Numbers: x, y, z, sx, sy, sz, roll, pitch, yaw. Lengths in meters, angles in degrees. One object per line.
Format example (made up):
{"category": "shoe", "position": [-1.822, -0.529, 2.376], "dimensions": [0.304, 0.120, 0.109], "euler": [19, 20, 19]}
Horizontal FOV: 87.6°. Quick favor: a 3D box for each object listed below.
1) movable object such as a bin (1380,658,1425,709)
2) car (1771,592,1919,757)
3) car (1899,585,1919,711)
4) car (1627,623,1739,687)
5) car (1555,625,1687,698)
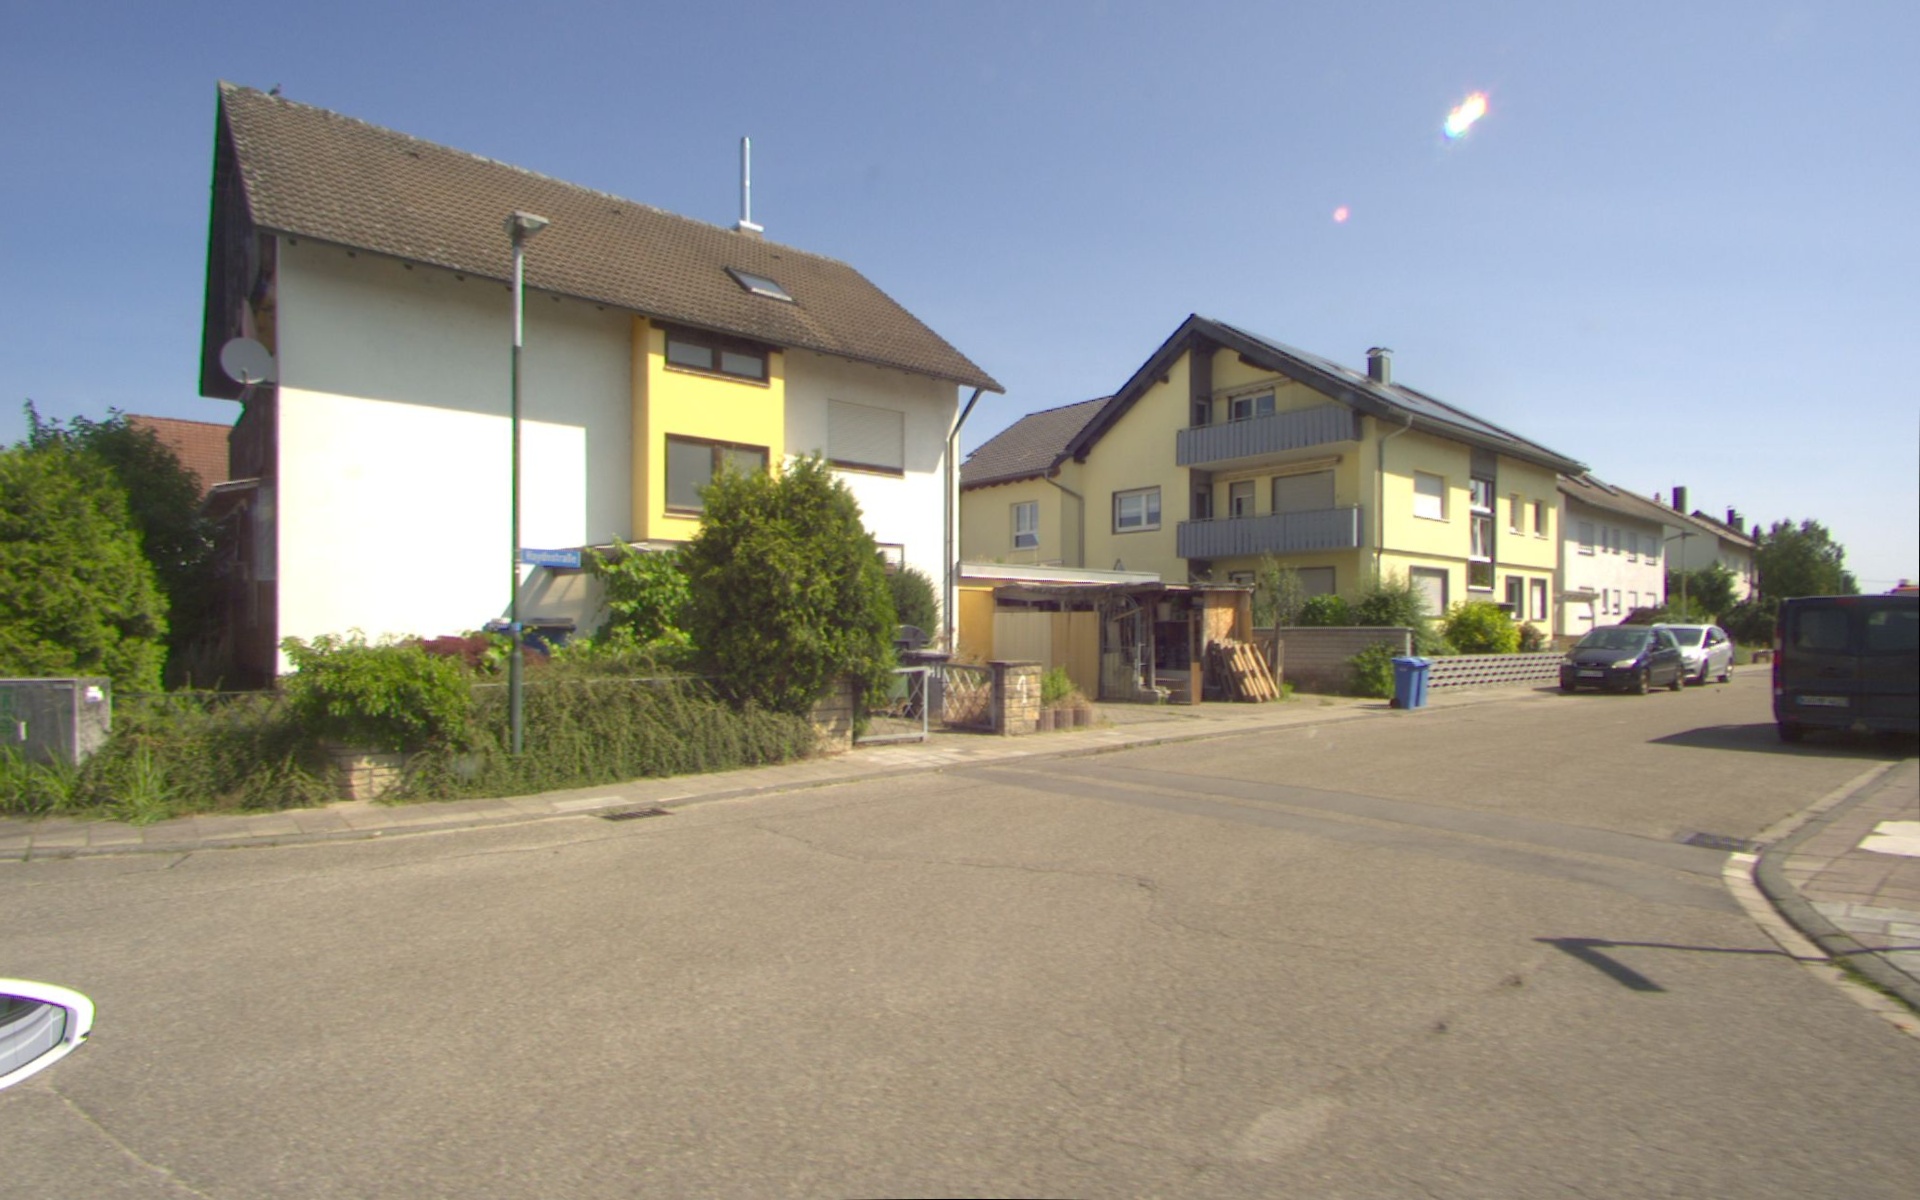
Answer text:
{"category": "movable object such as a bin", "position": [8.393, 1.565, 18.995], "dimensions": [0.592, 0.928, 0.579], "euler": [1, -2, -42]}
{"category": "car", "position": [12.670, 0.941, 13.667], "dimensions": [4.161, 1.963, 1.855], "euler": [1, -2, -42]}
{"category": "car", "position": [19.701, 0.920, 19.615], "dimensions": [4.161, 2.353, 1.542], "euler": [1, -2, -42]}
{"category": "car", "position": [20.282, 1.512, 28.055], "dimensions": [3.956, 1.646, 1.620], "euler": [2, -2, -40]}
{"category": "car", "position": [16.148, 1.452, 24.384], "dimensions": [3.956, 1.646, 1.620], "euler": [2, -2, -40]}
